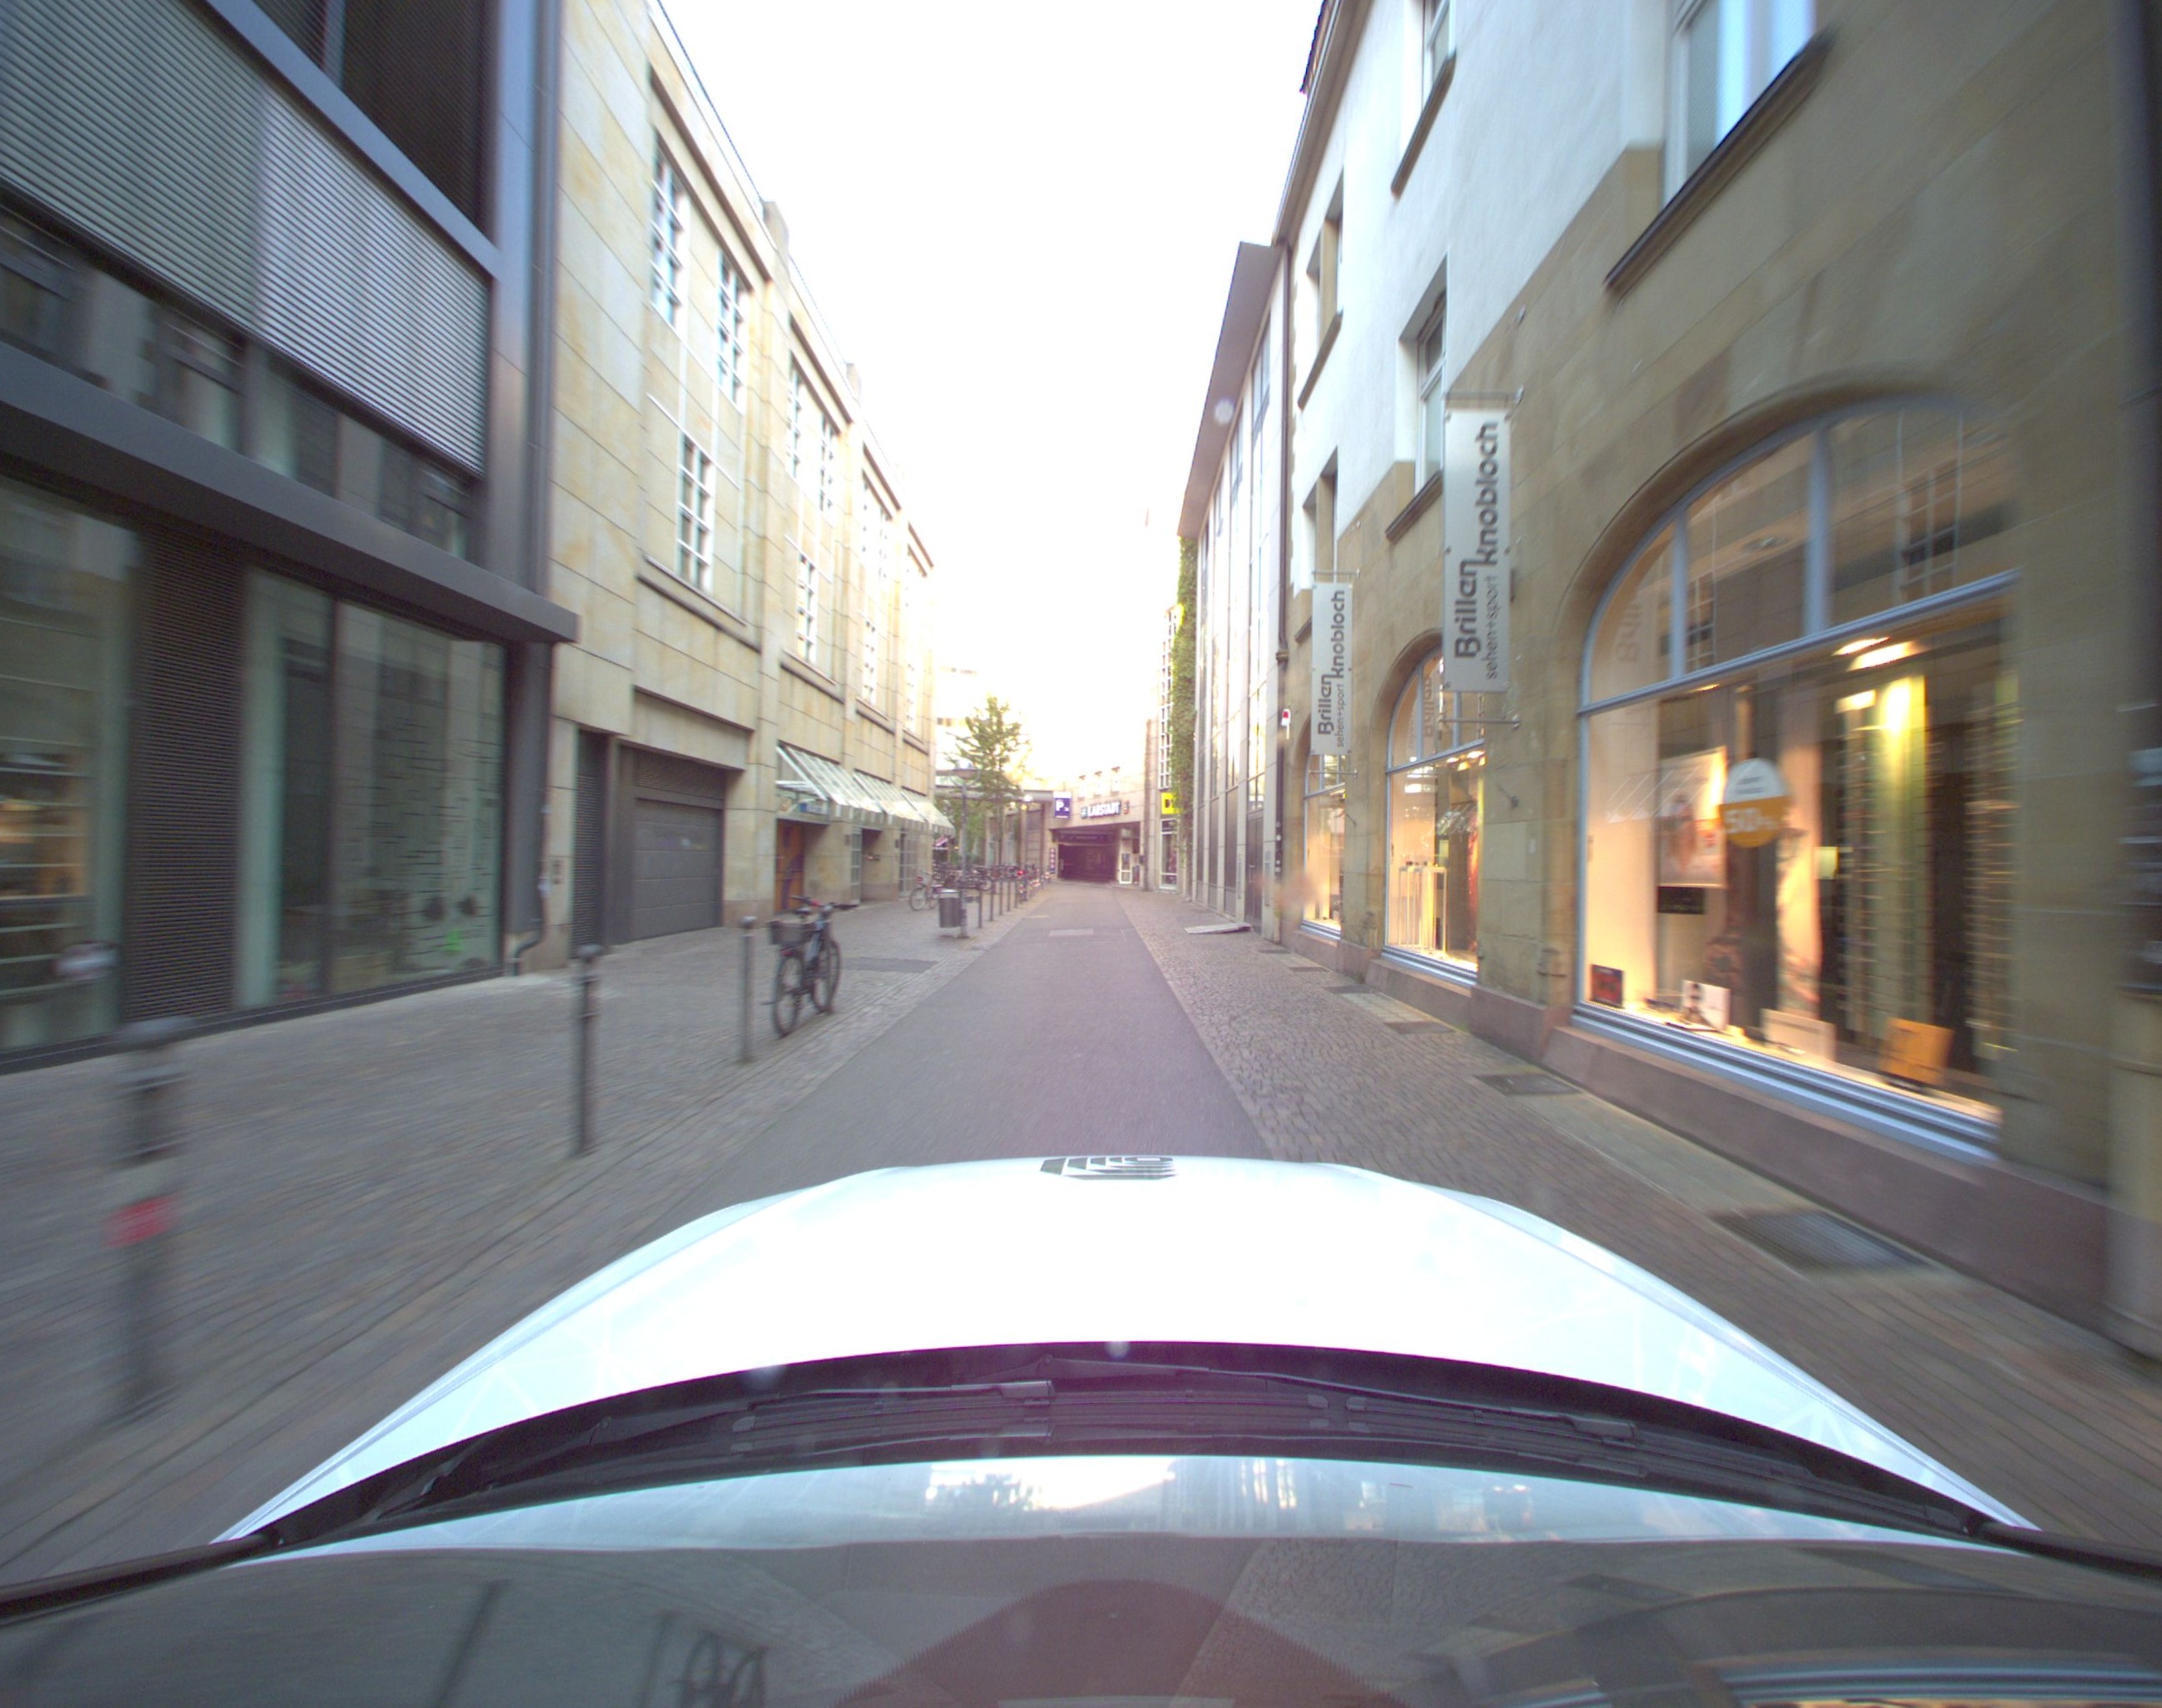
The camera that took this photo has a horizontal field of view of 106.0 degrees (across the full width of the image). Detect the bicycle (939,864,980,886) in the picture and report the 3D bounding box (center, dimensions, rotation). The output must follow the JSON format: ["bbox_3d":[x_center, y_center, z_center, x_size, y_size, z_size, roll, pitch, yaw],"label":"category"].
[{"bbox_3d":[-6.061,1.044,40.530,1.917,1.101,0.692,1,-1,-17],"label":"bicycle"}]

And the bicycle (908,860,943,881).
[{"bbox_3d":[-8.939,0.958,46.909,1.917,1.182,0.692,1,-1,-17],"label":"bicycle"}]

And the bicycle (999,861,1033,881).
[{"bbox_3d":[-4.052,1.054,50.782,2.000,1.182,0.691,-1,0,-19],"label":"bicycle"}]

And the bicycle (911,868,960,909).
[{"bbox_3d":[-4.238,0.978,23.804,0.688,1.112,1.784,0,0,16],"label":"bicycle"}]

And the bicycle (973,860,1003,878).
[{"bbox_3d":[-6.545,1.049,57.083,2.000,1.182,0.689,-1,0,-19],"label":"bicycle"}]

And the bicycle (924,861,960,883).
[{"bbox_3d":[-7.689,0.975,45.127,1.917,1.182,0.692,1,-1,-17],"label":"bicycle"}]

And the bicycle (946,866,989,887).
[{"bbox_3d":[-5.363,1.065,38.424,1.919,0.994,0.691,1,0,-20],"label":"bicycle"}]

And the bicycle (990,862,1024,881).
[{"bbox_3d":[-4.713,1.100,51.741,2.000,1.182,0.691,-1,0,-19],"label":"bicycle"}]

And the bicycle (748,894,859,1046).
[{"bbox_3d":[-2.500,0.982,7.540,0.409,1.132,1.929,1,0,-2],"label":"bicycle"}]

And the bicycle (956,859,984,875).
[{"bbox_3d":[-8.394,0.993,61.755,2.000,1.182,0.689,-1,0,-19],"label":"bicycle"}]

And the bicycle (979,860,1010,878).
[{"bbox_3d":[-5.856,1.007,55.108,2.000,1.182,0.797,-1,0,-19],"label":"bicycle"}]

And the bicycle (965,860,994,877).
[{"bbox_3d":[-7.376,1.020,59.394,2.000,1.182,0.689,-1,0,-19],"label":"bicycle"}]

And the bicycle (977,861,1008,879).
[{"bbox_3d":[-6.132,1.065,56.200,2.000,1.182,0.689,-1,0,-19],"label":"bicycle"}]

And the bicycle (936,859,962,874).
[{"bbox_3d":[-10.952,1.021,67.421,2.000,1.182,0.689,-1,0,-19],"label":"bicycle"}]

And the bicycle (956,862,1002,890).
[{"bbox_3d":[-4.645,0.995,37.010,1.919,1.261,0.803,1,-1,-20],"label":"bicycle"}]

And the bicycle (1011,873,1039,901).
[{"bbox_3d":[-2.094,1.221,30.659,0.501,0.966,1.702,0,0,16],"label":"bicycle"}]

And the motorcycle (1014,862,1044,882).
[{"bbox_3d":[-3.145,1.101,49.206,1.750,1.155,0.591,-1,0,-17],"label":"motorcycle"}]

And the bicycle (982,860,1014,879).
[{"bbox_3d":[-5.473,1.030,53.757,2.000,1.182,0.797,-1,0,-19],"label":"bicycle"}]

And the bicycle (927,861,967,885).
[{"bbox_3d":[-6.814,0.982,41.432,1.917,1.182,0.692,1,-1,-17],"label":"bicycle"}]

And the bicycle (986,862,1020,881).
[{"bbox_3d":[-5.038,1.106,52.623,2.000,1.182,0.797,-1,0,-19],"label":"bicycle"}]

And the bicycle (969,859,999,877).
[{"bbox_3d":[-6.948,0.997,58.320,2.000,1.182,0.689,-1,0,-19],"label":"bicycle"}]

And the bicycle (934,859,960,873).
[{"bbox_3d":[-11.215,1.008,68.232,2.000,1.182,0.689,-1,0,-19],"label":"bicycle"}]

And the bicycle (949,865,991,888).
[{"bbox_3d":[-5.348,1.092,39.342,1.919,1.101,0.691,1,-1,-20],"label":"bicycle"}]
